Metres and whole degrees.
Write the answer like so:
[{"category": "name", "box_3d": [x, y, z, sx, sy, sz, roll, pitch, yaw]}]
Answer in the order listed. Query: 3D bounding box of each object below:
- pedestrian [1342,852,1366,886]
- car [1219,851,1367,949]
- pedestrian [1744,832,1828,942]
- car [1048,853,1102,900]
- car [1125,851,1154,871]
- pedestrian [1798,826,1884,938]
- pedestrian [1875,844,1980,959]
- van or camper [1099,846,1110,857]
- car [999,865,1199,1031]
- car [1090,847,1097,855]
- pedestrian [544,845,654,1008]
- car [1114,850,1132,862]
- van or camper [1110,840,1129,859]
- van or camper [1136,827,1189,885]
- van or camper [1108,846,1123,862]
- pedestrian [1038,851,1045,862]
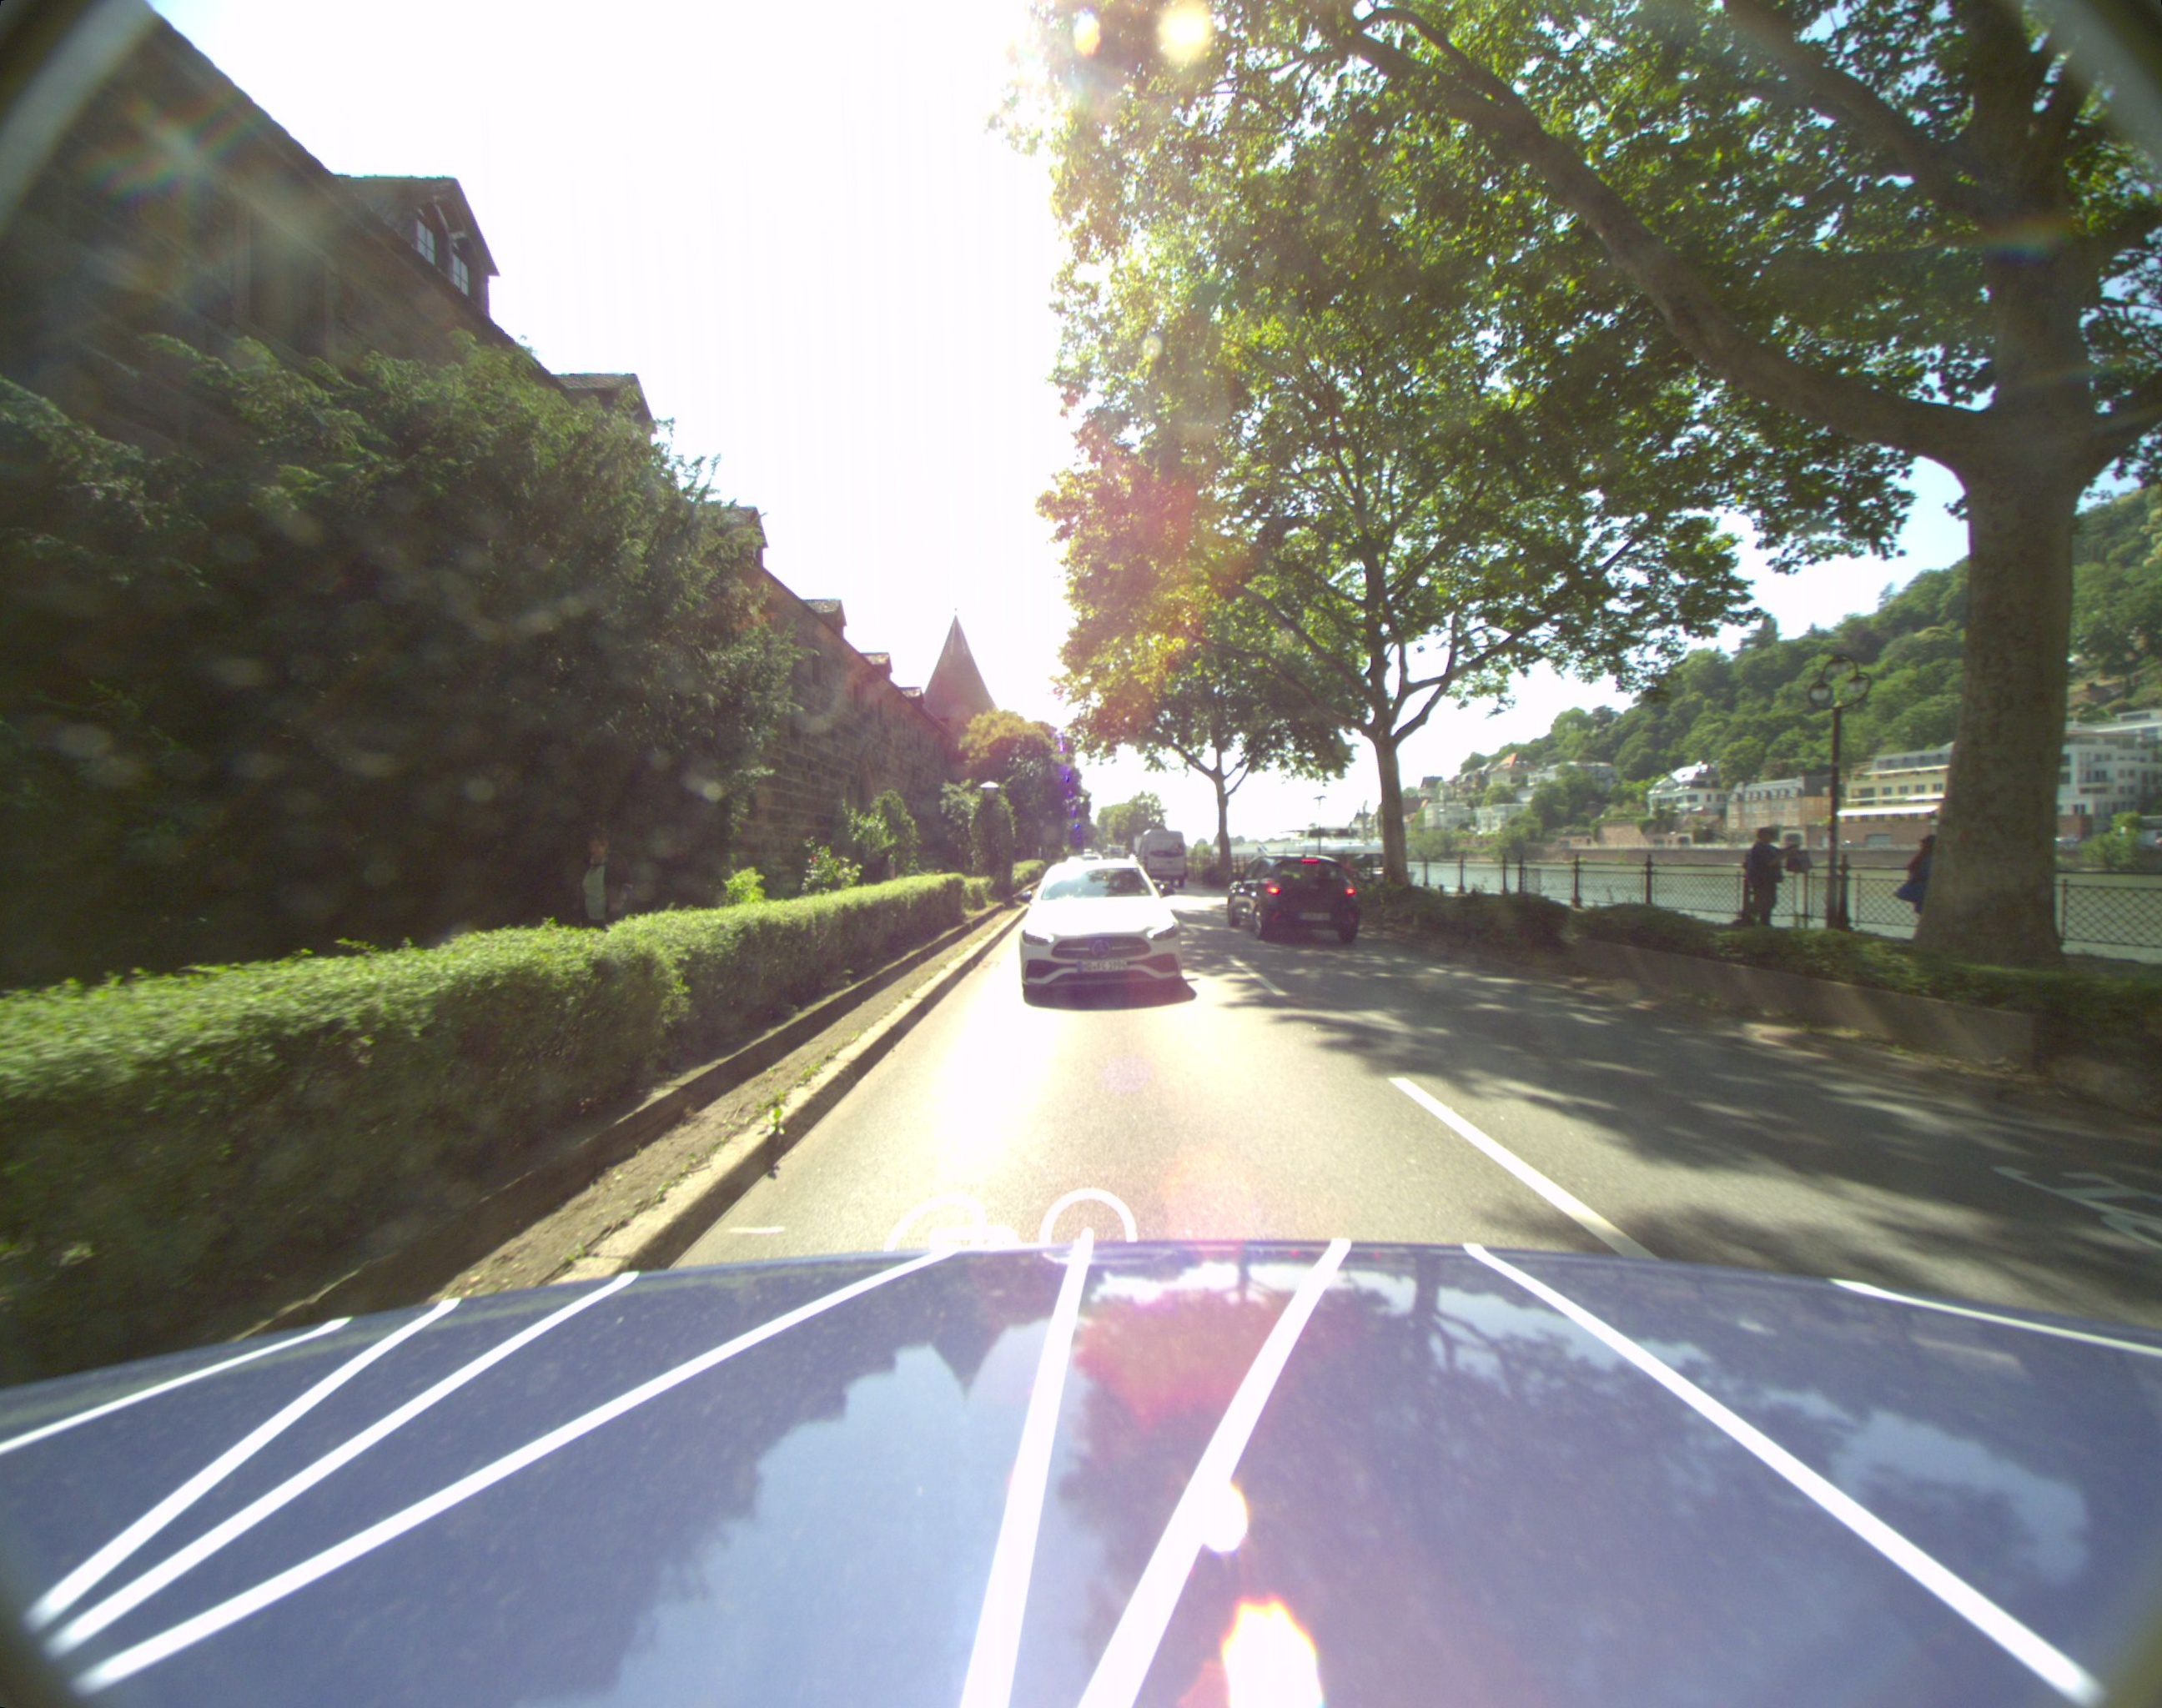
[{"category": "pedestrian", "box_3d": [10.767, 0.591, 30.019, 0.704, 1.300, 0.656, 0, 1, 1]}, {"category": "car", "box_3d": [3.787, 0.740, 14.236, 1.653, 1.461, 3.778, 2, 2, 0]}, {"category": "pedestrian", "box_3d": [11.355, 0.518, 12.263, 0.705, 1.721, 0.705, -1, 1, 2]}, {"category": "car", "box_3d": [-0.175, 0.771, 27.828, 1.854, 1.543, 3.848, 0, 1, 1]}, {"category": "car", "box_3d": [4.345, 0.486, 56.926, 1.774, 1.448, 4.533, 0, 1, 0]}, {"category": "pedestrian", "box_3d": [12.537, 0.449, 12.558, 0.705, 1.787, 0.705, -1, 1, 2]}, {"category": "pedestrian", "box_3d": [12.193, 0.663, 10.969, 0.705, 1.594, 0.705, -1, 1, 2]}, {"category": "van or camper", "box_3d": [4.541, -0.527, 145.634, 1.923, 1.976, 3.999, 0, 1, 0]}, {"category": "car", "box_3d": [0.191, 0.913, 9.282, 1.829, 1.418, 4.358, -2, 0, 1]}, {"category": "car", "box_3d": [3.322, -0.785, 205.497, 1.923, 1.976, 3.999, 0, 1, 0]}, {"category": "pedestrian", "box_3d": [-5.083, 0.734, 8.052, 0.700, 1.643, 0.705, 0, 1, 3]}, {"category": "car", "box_3d": [5.082, 0.209, 91.962, 1.703, 1.204, 3.484, 5, 1, -3]}, {"category": "van or camper", "box_3d": [5.515, -0.637, 109.412, 2.328, 2.647, 6.263, 1, 1, 0]}, {"category": "van or camper", "box_3d": [3.840, 0.072, 36.949, 1.965, 2.552, 5.840, 1, 1, 1]}, {"category": "van or camper", "box_3d": [5.780, -0.025, 128.432, 2.328, 2.647, 6.263, 1, 1, 0]}, {"category": "pedestrian", "box_3d": [-4.416, 0.322, 85.125, 0.632, 1.186, 0.747, -3, 1, 3]}]
